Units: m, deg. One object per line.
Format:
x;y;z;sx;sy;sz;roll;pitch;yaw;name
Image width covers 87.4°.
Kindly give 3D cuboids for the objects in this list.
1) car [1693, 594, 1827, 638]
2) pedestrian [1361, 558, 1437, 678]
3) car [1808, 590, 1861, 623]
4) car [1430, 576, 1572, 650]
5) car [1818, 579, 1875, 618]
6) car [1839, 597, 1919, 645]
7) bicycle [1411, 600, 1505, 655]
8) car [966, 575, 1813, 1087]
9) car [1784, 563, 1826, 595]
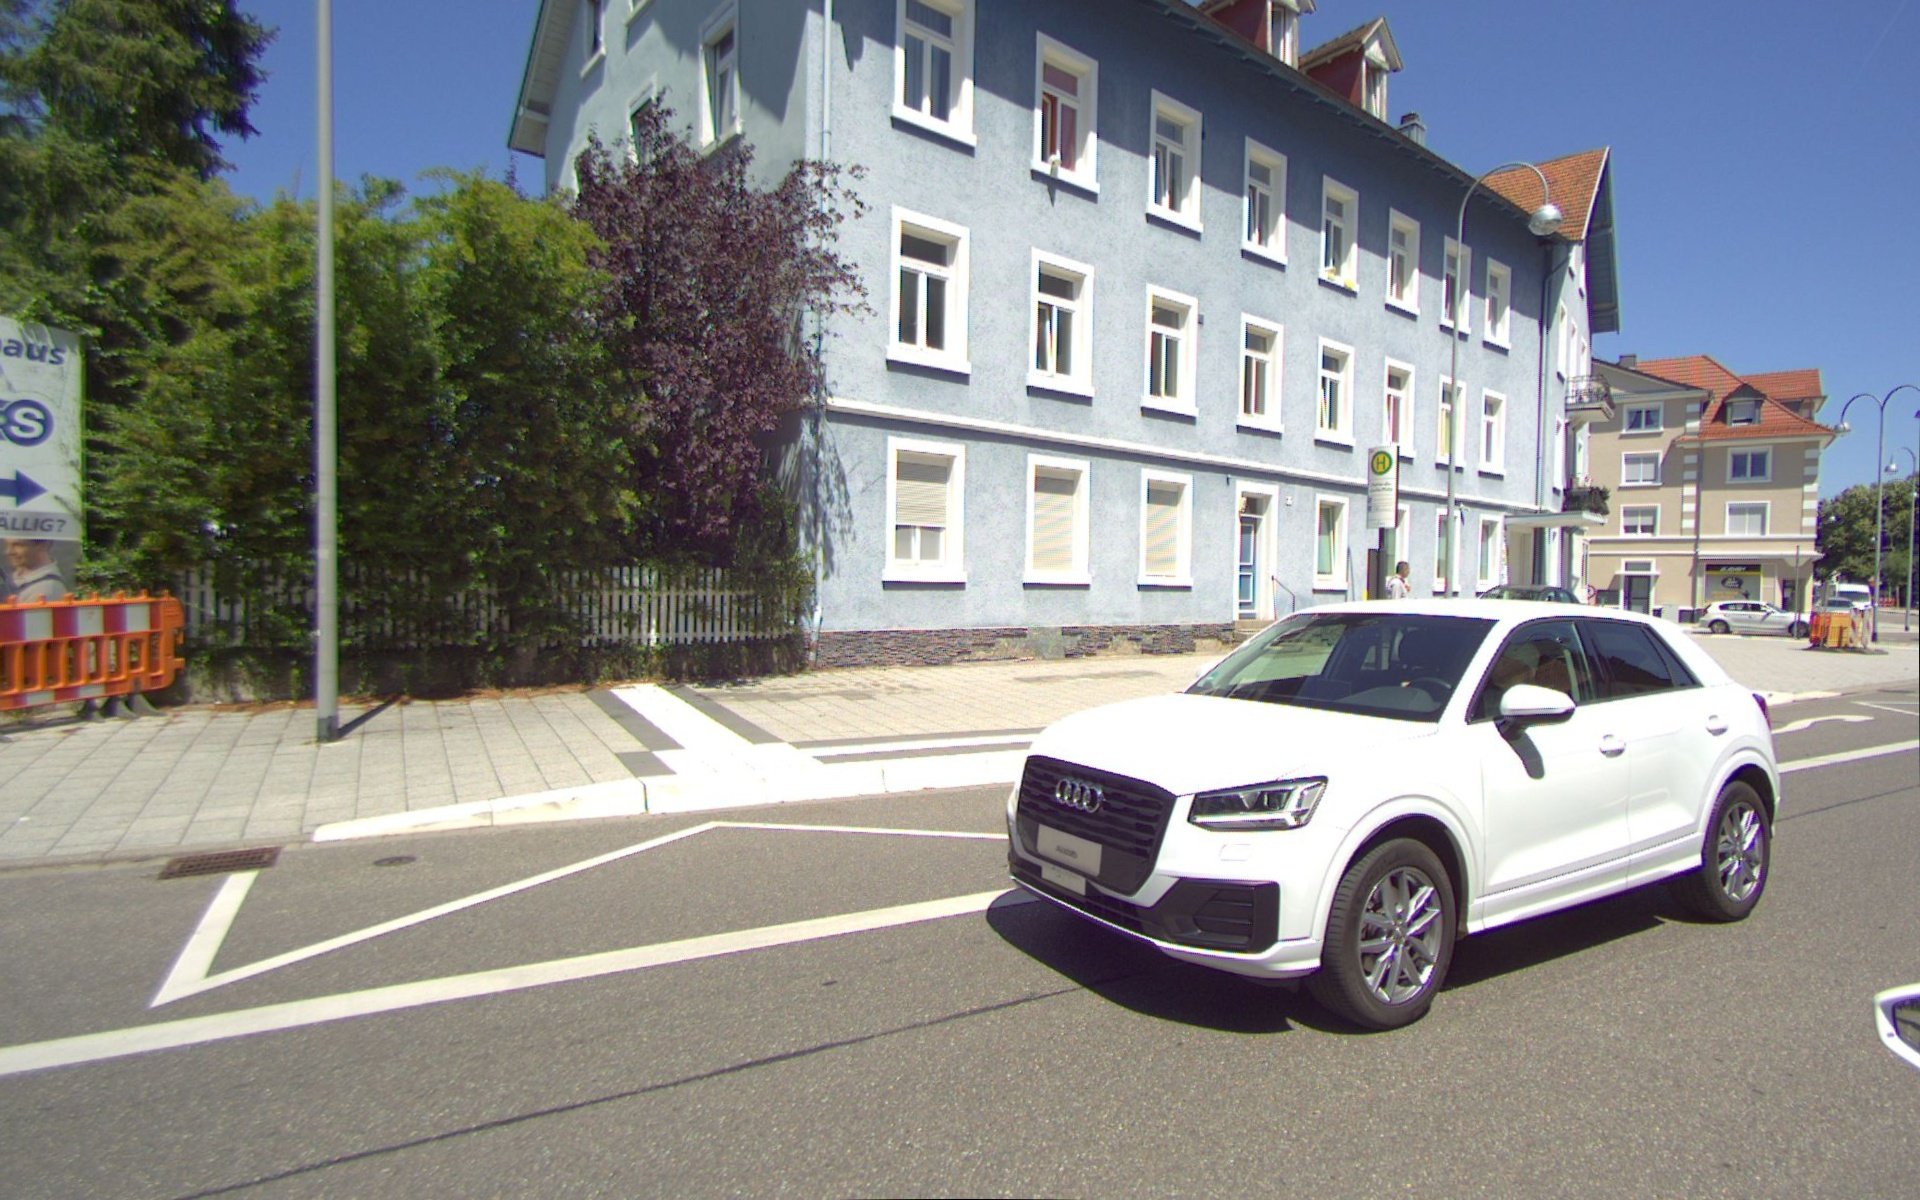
33.368;0.640;41.972;1.774;1.572;4.077;0;2;-42;car
7.152;0.273;16.375;0.765;1.873;0.750;0;4;-38;pedestrian
48.959;0.338;56.286;1.752;1.708;4.677;2;1;36;car
12.322;0.310;22.797;3.745;1.555;1.564;2;0;-41;car
64.085;-0.128;72.722;2.115;2.567;6.219;3;2;34;car
35.278;0.691;36.738;1.826;1.549;4.352;-3;-3;-36;car
9.769;0.547;19.696;1.947;0.990;0.494;2;5;-27;bicycle
2.173;0.745;4.843;3.906;1.550;1.811;2;0;-32;car
72.943;-1.800;86.785;2.115;2.567;4.841;3;2;34;car
